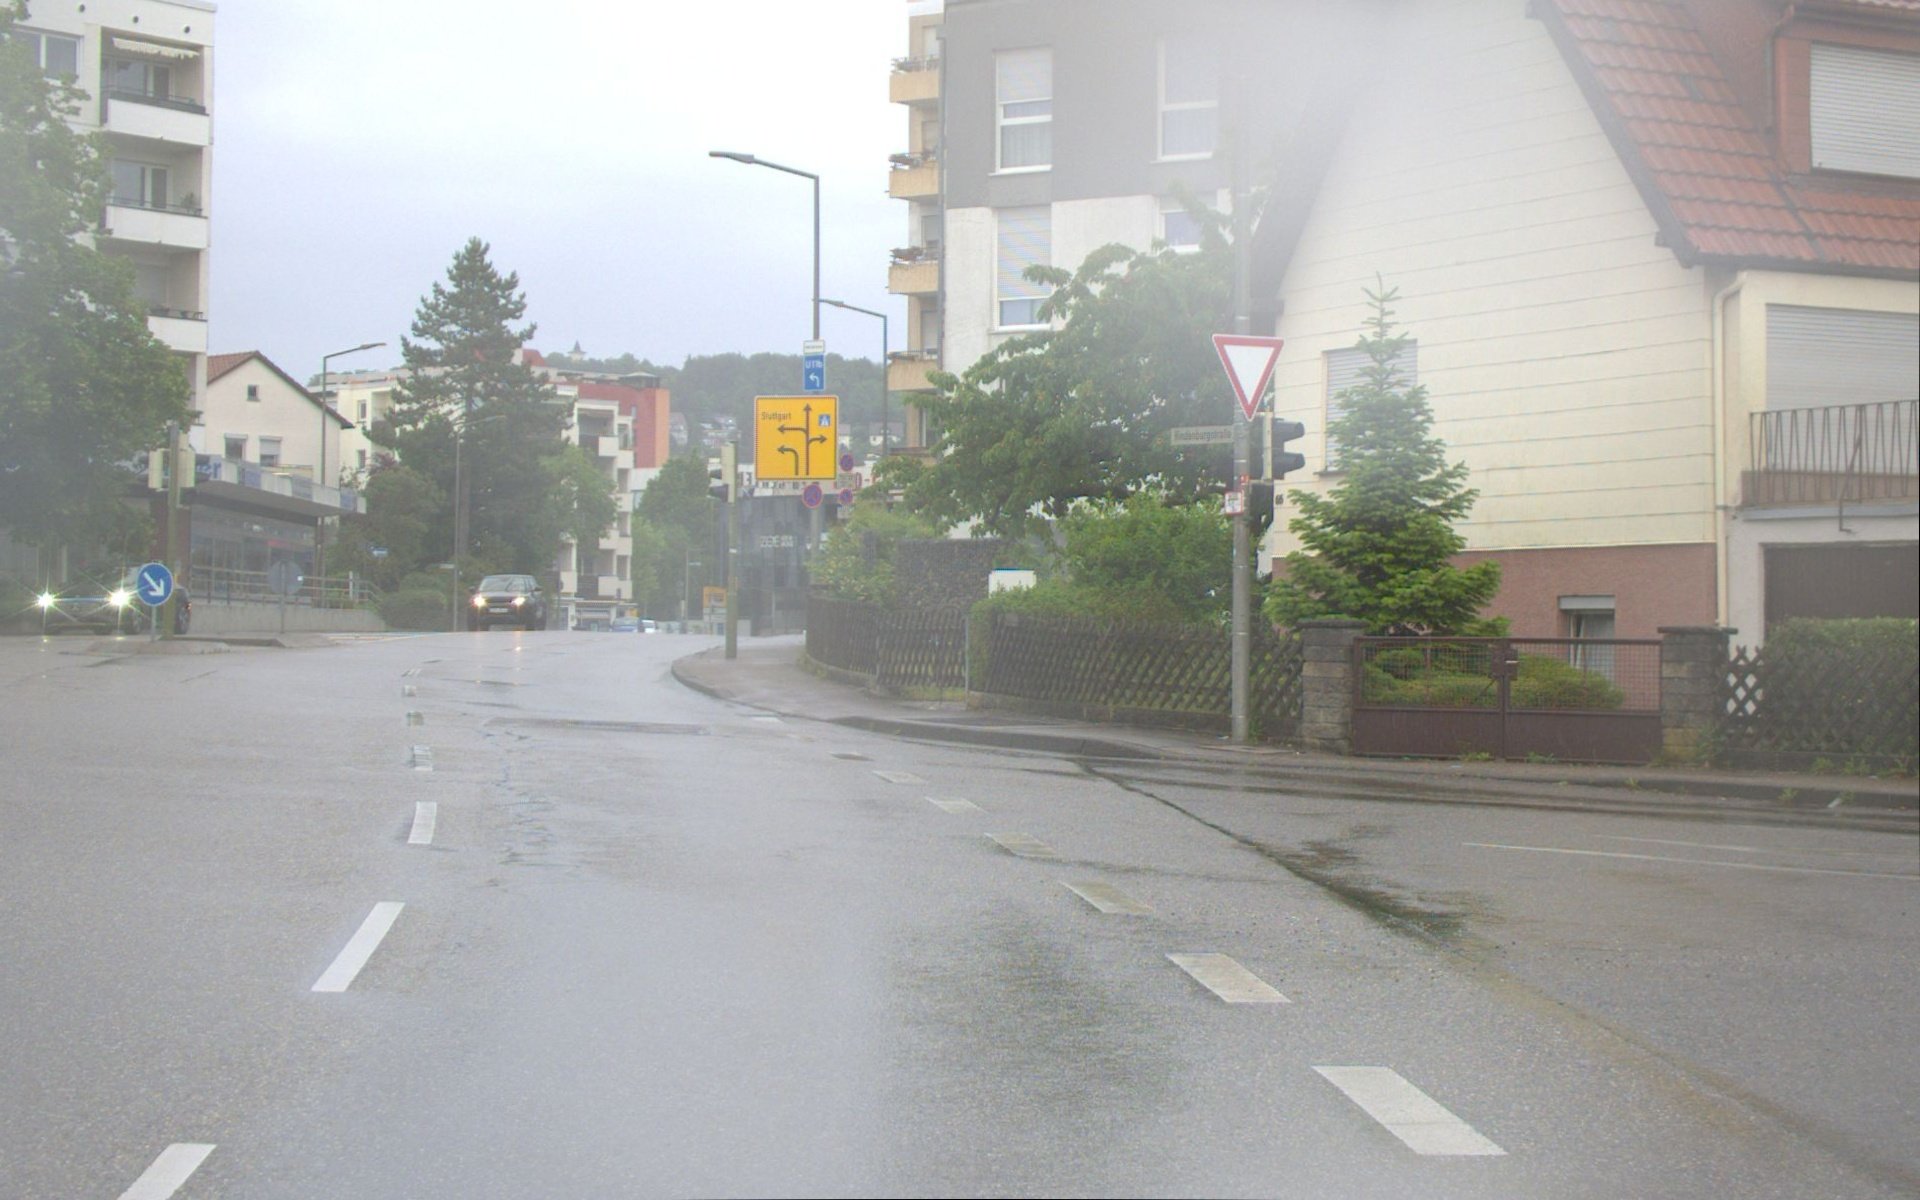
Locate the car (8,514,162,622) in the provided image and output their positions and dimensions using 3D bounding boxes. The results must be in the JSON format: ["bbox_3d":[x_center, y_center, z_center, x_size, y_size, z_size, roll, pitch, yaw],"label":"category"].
[{"bbox_3d":[-17.115,-0.638,67.461,1.993,2.007,4.652,1,1,-3],"label":"car"}]

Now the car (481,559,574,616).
[{"bbox_3d":[-12.288,-0.377,97.906,1.803,1.551,4.318,1,1,4],"label":"car"}]
